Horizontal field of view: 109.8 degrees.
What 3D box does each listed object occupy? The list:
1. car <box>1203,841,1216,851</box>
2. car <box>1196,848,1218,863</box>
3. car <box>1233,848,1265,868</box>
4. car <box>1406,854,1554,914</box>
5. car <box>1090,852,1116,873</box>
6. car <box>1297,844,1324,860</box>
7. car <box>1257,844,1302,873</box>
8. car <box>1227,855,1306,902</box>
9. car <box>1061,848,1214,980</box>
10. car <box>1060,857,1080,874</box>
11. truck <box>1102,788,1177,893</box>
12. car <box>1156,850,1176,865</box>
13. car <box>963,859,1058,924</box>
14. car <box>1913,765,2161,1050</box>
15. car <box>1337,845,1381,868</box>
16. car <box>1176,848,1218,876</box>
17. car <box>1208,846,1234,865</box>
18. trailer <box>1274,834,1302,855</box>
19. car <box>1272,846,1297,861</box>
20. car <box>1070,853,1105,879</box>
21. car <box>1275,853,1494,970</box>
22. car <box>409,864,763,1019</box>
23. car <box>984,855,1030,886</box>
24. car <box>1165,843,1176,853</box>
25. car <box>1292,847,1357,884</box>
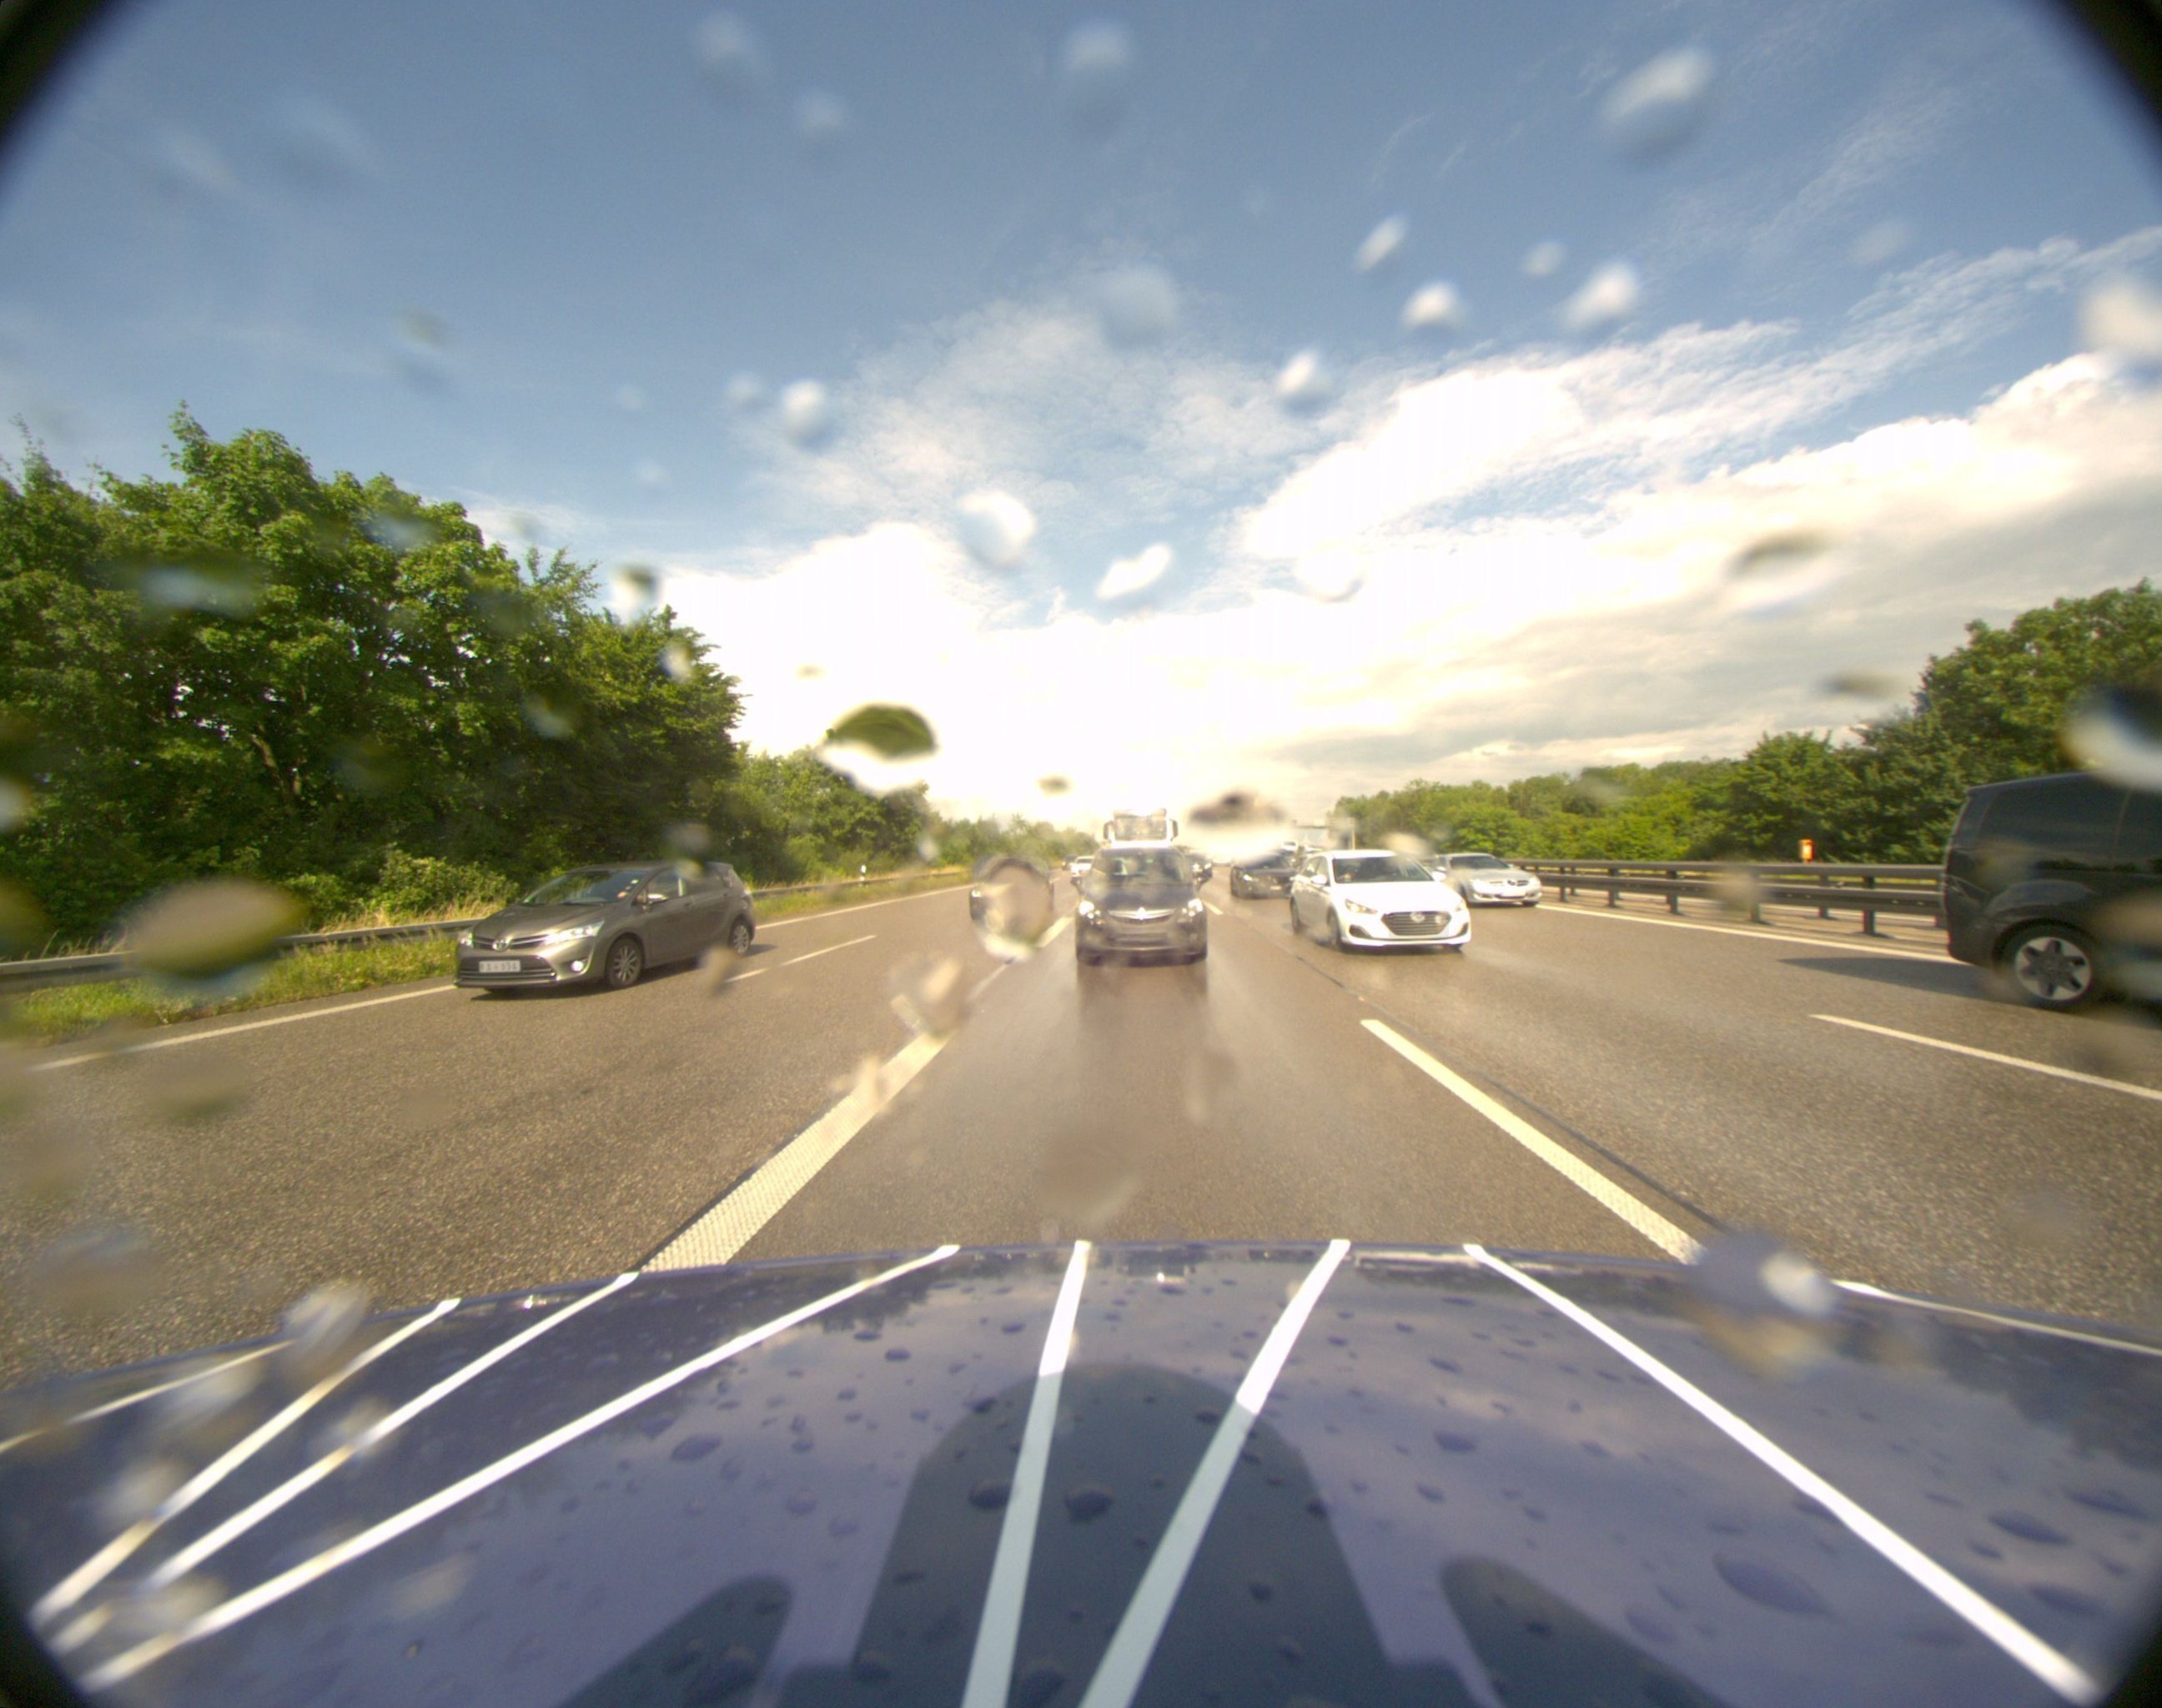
[{"bbox_3d":[25.065,-1.600,148.015,1.998,1.768,4.462,-2,0,4],"label":"car"},{"bbox_3d":[14.430,0.144,86.991,1.998,1.471,4.000,-3,1,3],"label":"car"},{"bbox_3d":[12.874,0.308,58.306,1.771,1.371,4.000,-1,1,3],"label":"car"},{"bbox_3d":[9.721,0.659,18.905,1.728,1.270,4.064,-2,0,3],"label":"car"},{"bbox_3d":[1.854,0.657,62.832,1.998,1.572,4.654,-2,0,3],"label":"car"},{"bbox_3d":[27.186,-0.243,90.190,1.998,1.723,4.946,-2,0,3],"label":"car"},{"bbox_3d":[11.937,0.225,46.011,1.874,1.597,4.229,-2,1,5],"label":"car"},{"bbox_3d":[5.891,0.729,24.583,1.728,1.330,4.288,-2,0,3],"label":"car"},{"bbox_3d":[0.848,0.749,11.792,1.883,1.638,4.397,-2,0,3],"label":"car"},{"bbox_3d":[-1.152,1.218,82.096,1.825,1.611,4.364,-2,0,3],"label":"car"},{"bbox_3d":[2.675,-0.584,33.929,2.816,4.083,7.447,-2,1,5],"label":"truck"},{"bbox_3d":[9.844,0.375,87.870,1.998,1.471,4.000,-3,1,3],"label":"car"},{"bbox_3d":[-1.733,0.904,20.109,1.852,1.455,4.256,-1,1,3],"label":"car"},{"bbox_3d":[8.512,0.360,4.317,1.998,2.002,5.270,-2,0,3],"label":"car"},{"bbox_3d":[21.053,0.148,57.711,1.998,1.619,4.000,-1,1,3],"label":"car"},{"bbox_3d":[6.815,0.437,44.958,1.998,1.477,4.000,-3,1,3],"label":"car"},{"bbox_3d":[13.889,0.133,75.386,1.998,1.739,4.000,-3,1,3],"label":"car"},{"bbox_3d":[34.562,-1.538,127.086,2.736,3.362,9.564,-1,0,5],"label":"trailer"},{"bbox_3d":[22.388,-0.106,83.808,1.885,1.619,3.831,-1,1,3],"label":"car"},{"bbox_3d":[0.464,0.733,48.543,1.830,1.417,4.512,-2,1,5],"label":"car"},{"bbox_3d":[4.522,0.748,12.146,1.886,1.446,4.549,-2,0,3],"label":"car"},{"bbox_3d":[-6.404,1.001,10.589,1.792,1.603,4.386,-2,0,4],"label":"car"},{"bbox_3d":[-4.032,0.857,41.883,1.852,1.559,4.000,-1,1,3],"label":"car"},{"bbox_3d":[18.106,-1.220,154.164,1.998,1.687,4.000,-3,1,3],"label":"car"},{"bbox_3d":[10.564,0.449,33.269,1.770,1.417,4.139,-2,1,5],"label":"car"}]
